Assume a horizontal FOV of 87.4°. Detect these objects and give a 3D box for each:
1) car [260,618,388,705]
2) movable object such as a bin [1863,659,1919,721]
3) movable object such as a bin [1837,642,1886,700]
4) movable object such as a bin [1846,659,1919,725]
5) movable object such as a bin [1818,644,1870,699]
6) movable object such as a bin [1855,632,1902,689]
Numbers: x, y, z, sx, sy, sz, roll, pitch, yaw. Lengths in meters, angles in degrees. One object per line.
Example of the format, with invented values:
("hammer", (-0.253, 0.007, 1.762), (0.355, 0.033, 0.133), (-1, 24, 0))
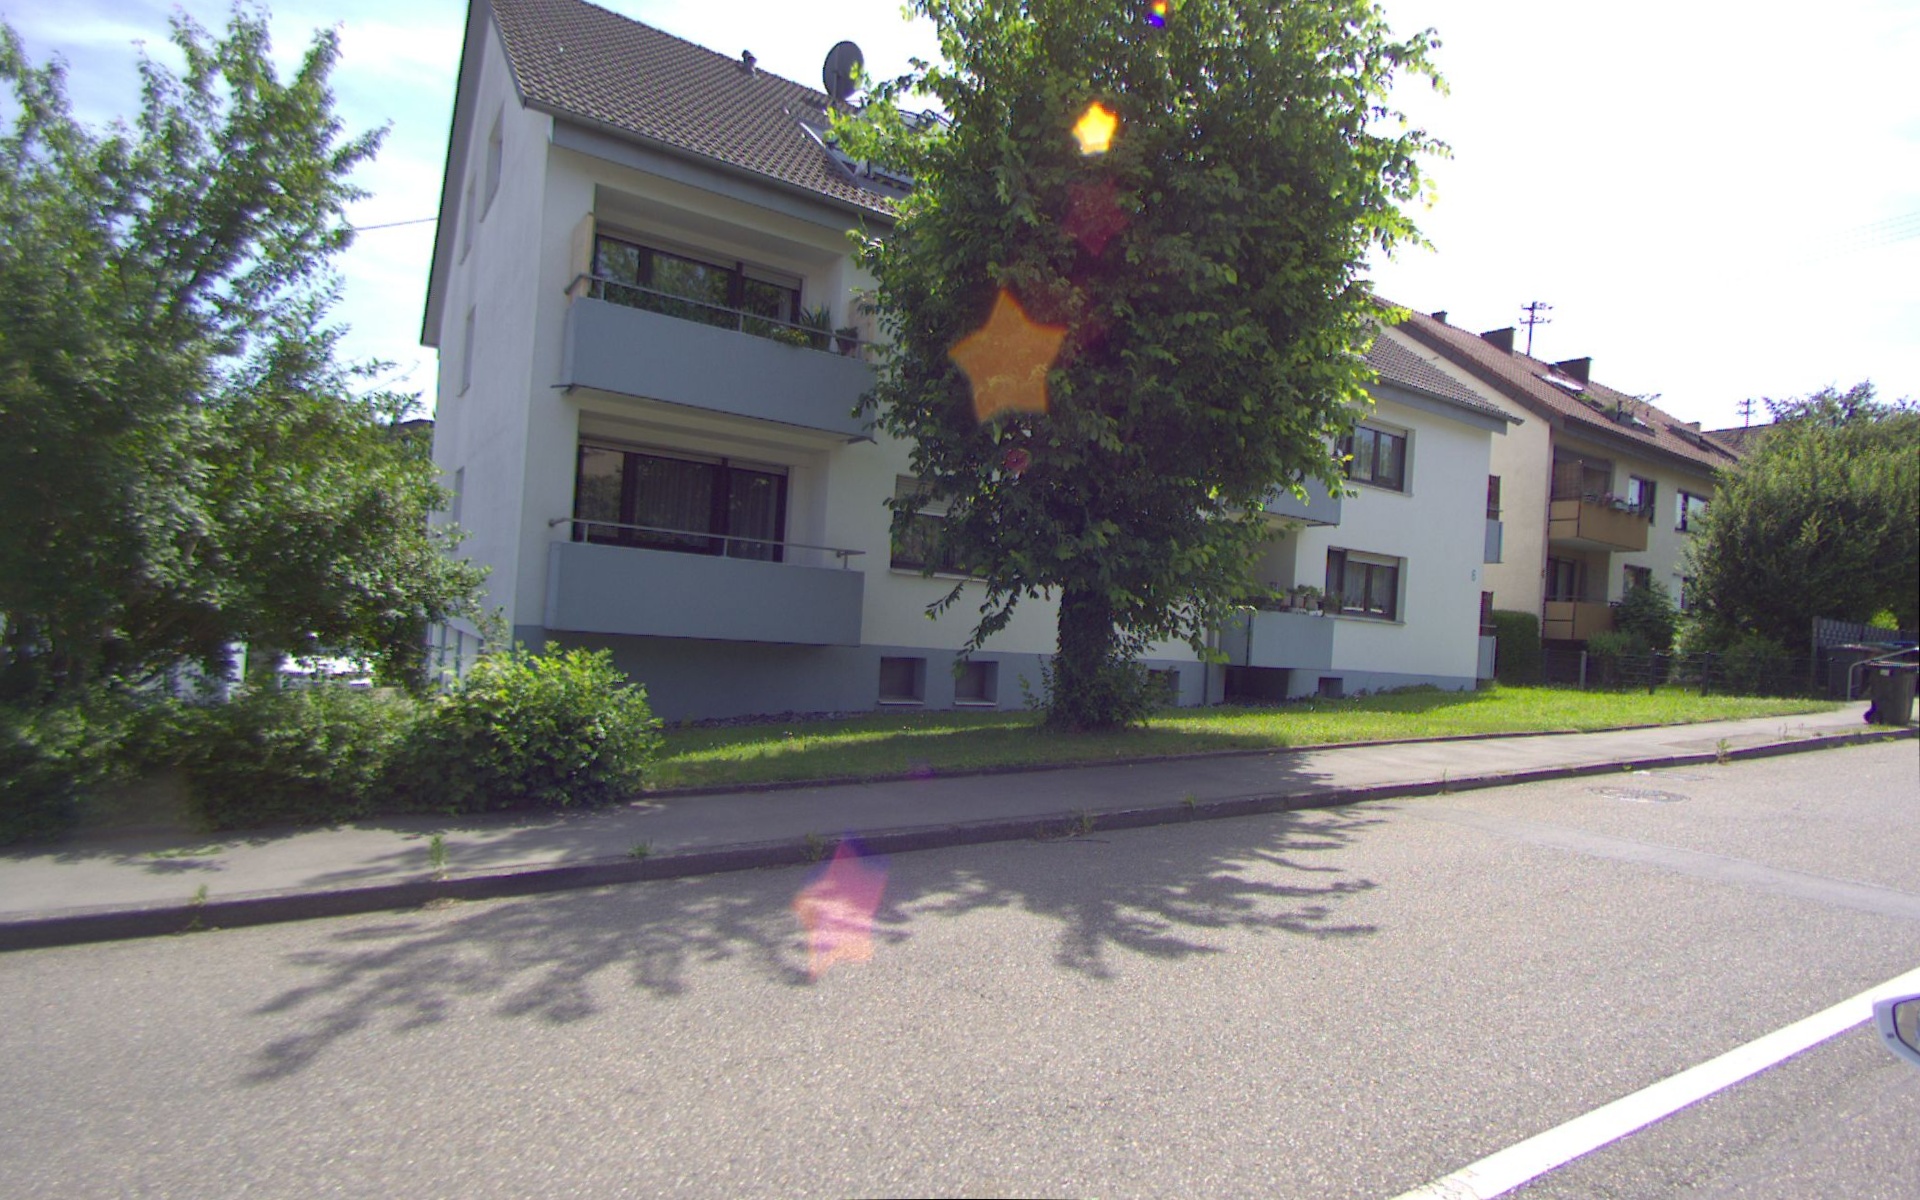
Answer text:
("car", (-14.194, 1.316, 22.644), (1.976, 1.483, 4.247), (6, -1, -28))
("movable object such as a bin", (14.769, 1.401, 15.848), (0.634, 0.930, 0.562), (1, -1, -24))
("movable object such as a bin", (19.047, 1.487, 21.222), (0.665, 1.193, 0.545), (1, -1, -26))
("movable object such as a bin", (13.869, 1.368, 15.098), (0.676, 0.930, 0.617), (1, -1, -24))
("movable object such as a bin", (18.400, 1.483, 20.909), (0.641, 1.111, 0.601), (2, -1, -24))
("movable object such as a bin", (19.741, 1.285, 21.584), (0.829, 1.193, 0.475), (1, -1, -26))
